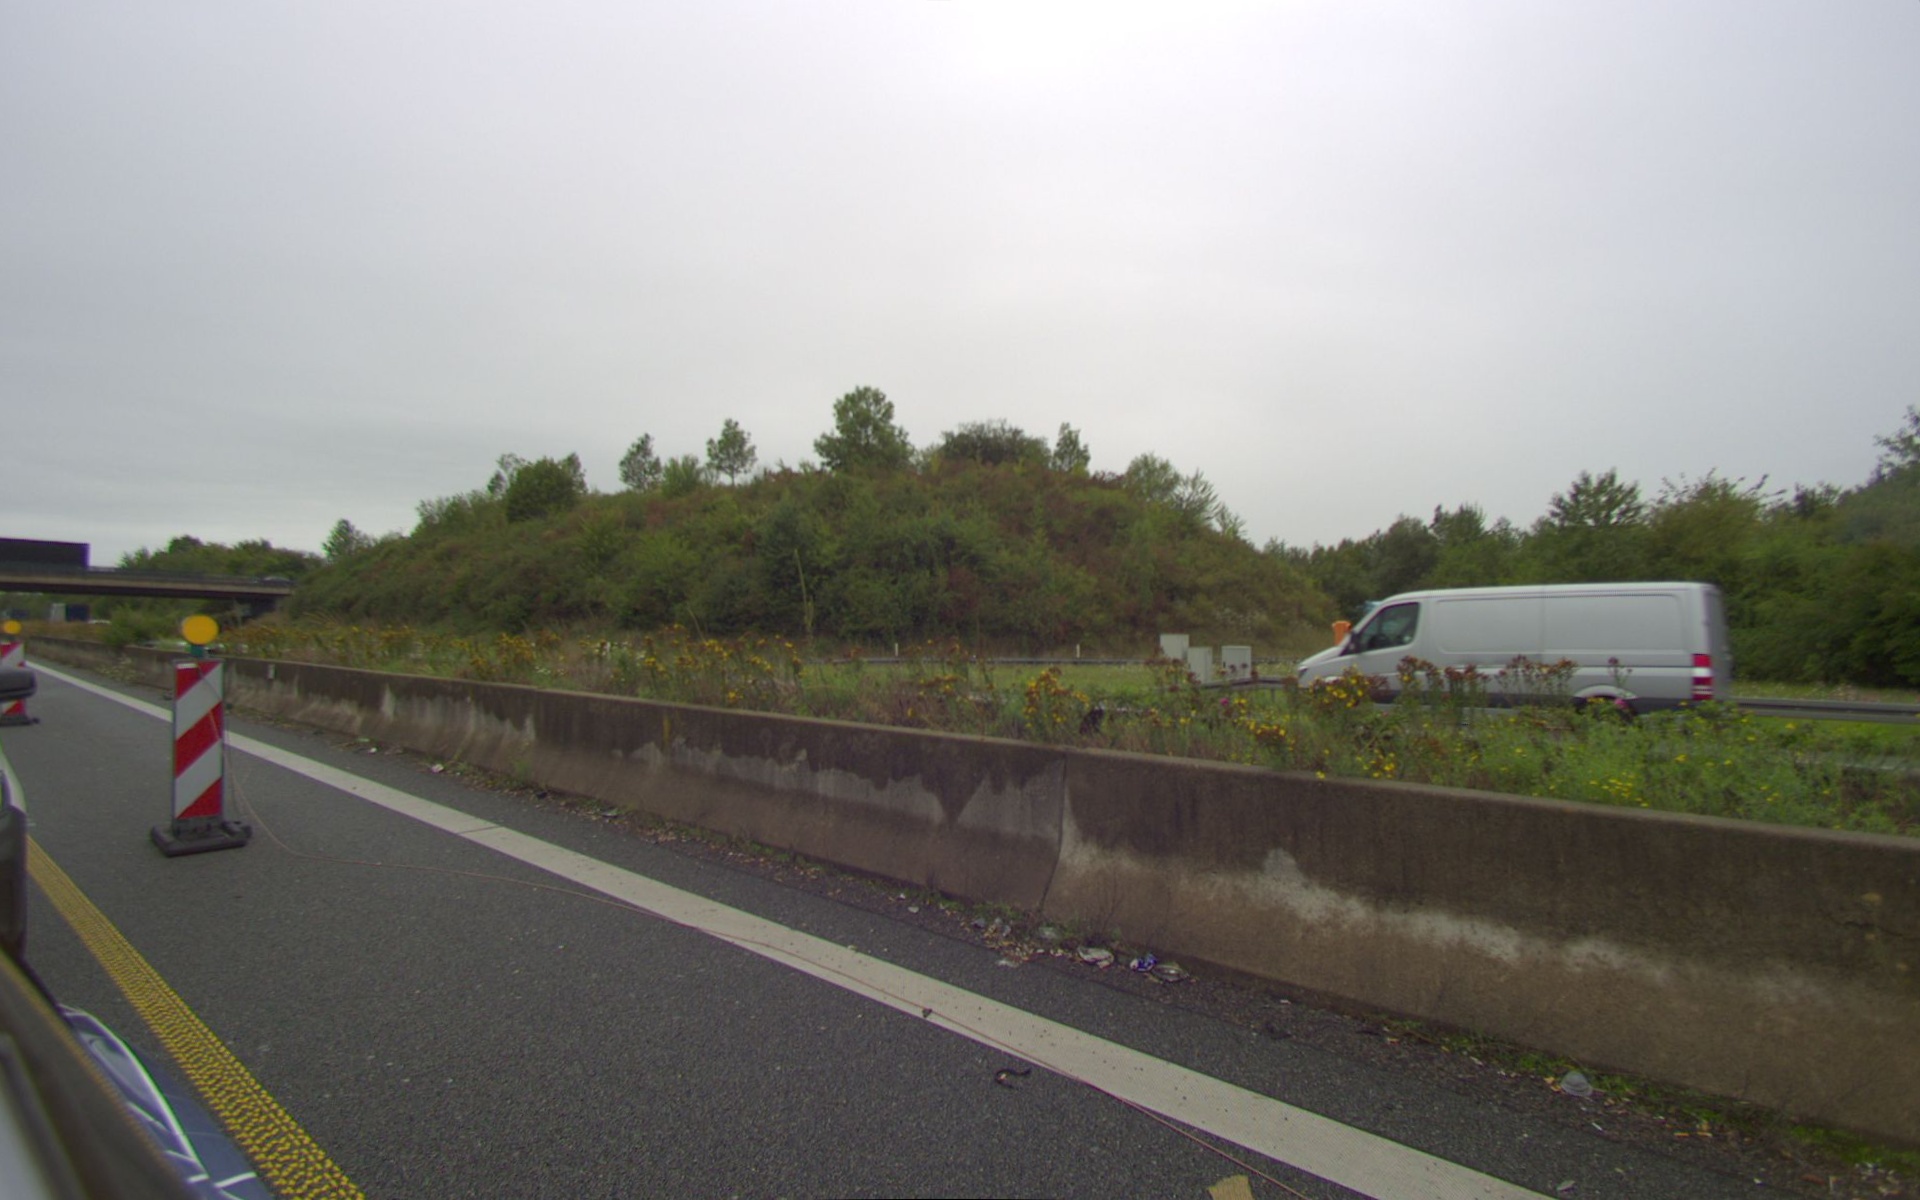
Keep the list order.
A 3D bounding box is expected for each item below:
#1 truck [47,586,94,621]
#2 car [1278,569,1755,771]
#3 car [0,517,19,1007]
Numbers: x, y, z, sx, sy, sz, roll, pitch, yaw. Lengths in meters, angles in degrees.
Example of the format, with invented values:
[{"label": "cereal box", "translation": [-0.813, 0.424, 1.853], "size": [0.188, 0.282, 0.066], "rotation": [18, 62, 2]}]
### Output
[{"label": "truck", "translation": [-122.129, 0.504, 138.816], "size": [17.291, 4.558, 3.369], "rotation": [-1, -1, 44]}, {"label": "car", "translation": [8.072, 0.961, 15.233], "size": [5.884, 2.459, 2.214], "rotation": [-2, -3, 44]}, {"label": "car", "translation": [-5.812, 0.644, 4.615], "size": [4.645, 1.798, 1.747], "rotation": [-1, -1, 41]}]
